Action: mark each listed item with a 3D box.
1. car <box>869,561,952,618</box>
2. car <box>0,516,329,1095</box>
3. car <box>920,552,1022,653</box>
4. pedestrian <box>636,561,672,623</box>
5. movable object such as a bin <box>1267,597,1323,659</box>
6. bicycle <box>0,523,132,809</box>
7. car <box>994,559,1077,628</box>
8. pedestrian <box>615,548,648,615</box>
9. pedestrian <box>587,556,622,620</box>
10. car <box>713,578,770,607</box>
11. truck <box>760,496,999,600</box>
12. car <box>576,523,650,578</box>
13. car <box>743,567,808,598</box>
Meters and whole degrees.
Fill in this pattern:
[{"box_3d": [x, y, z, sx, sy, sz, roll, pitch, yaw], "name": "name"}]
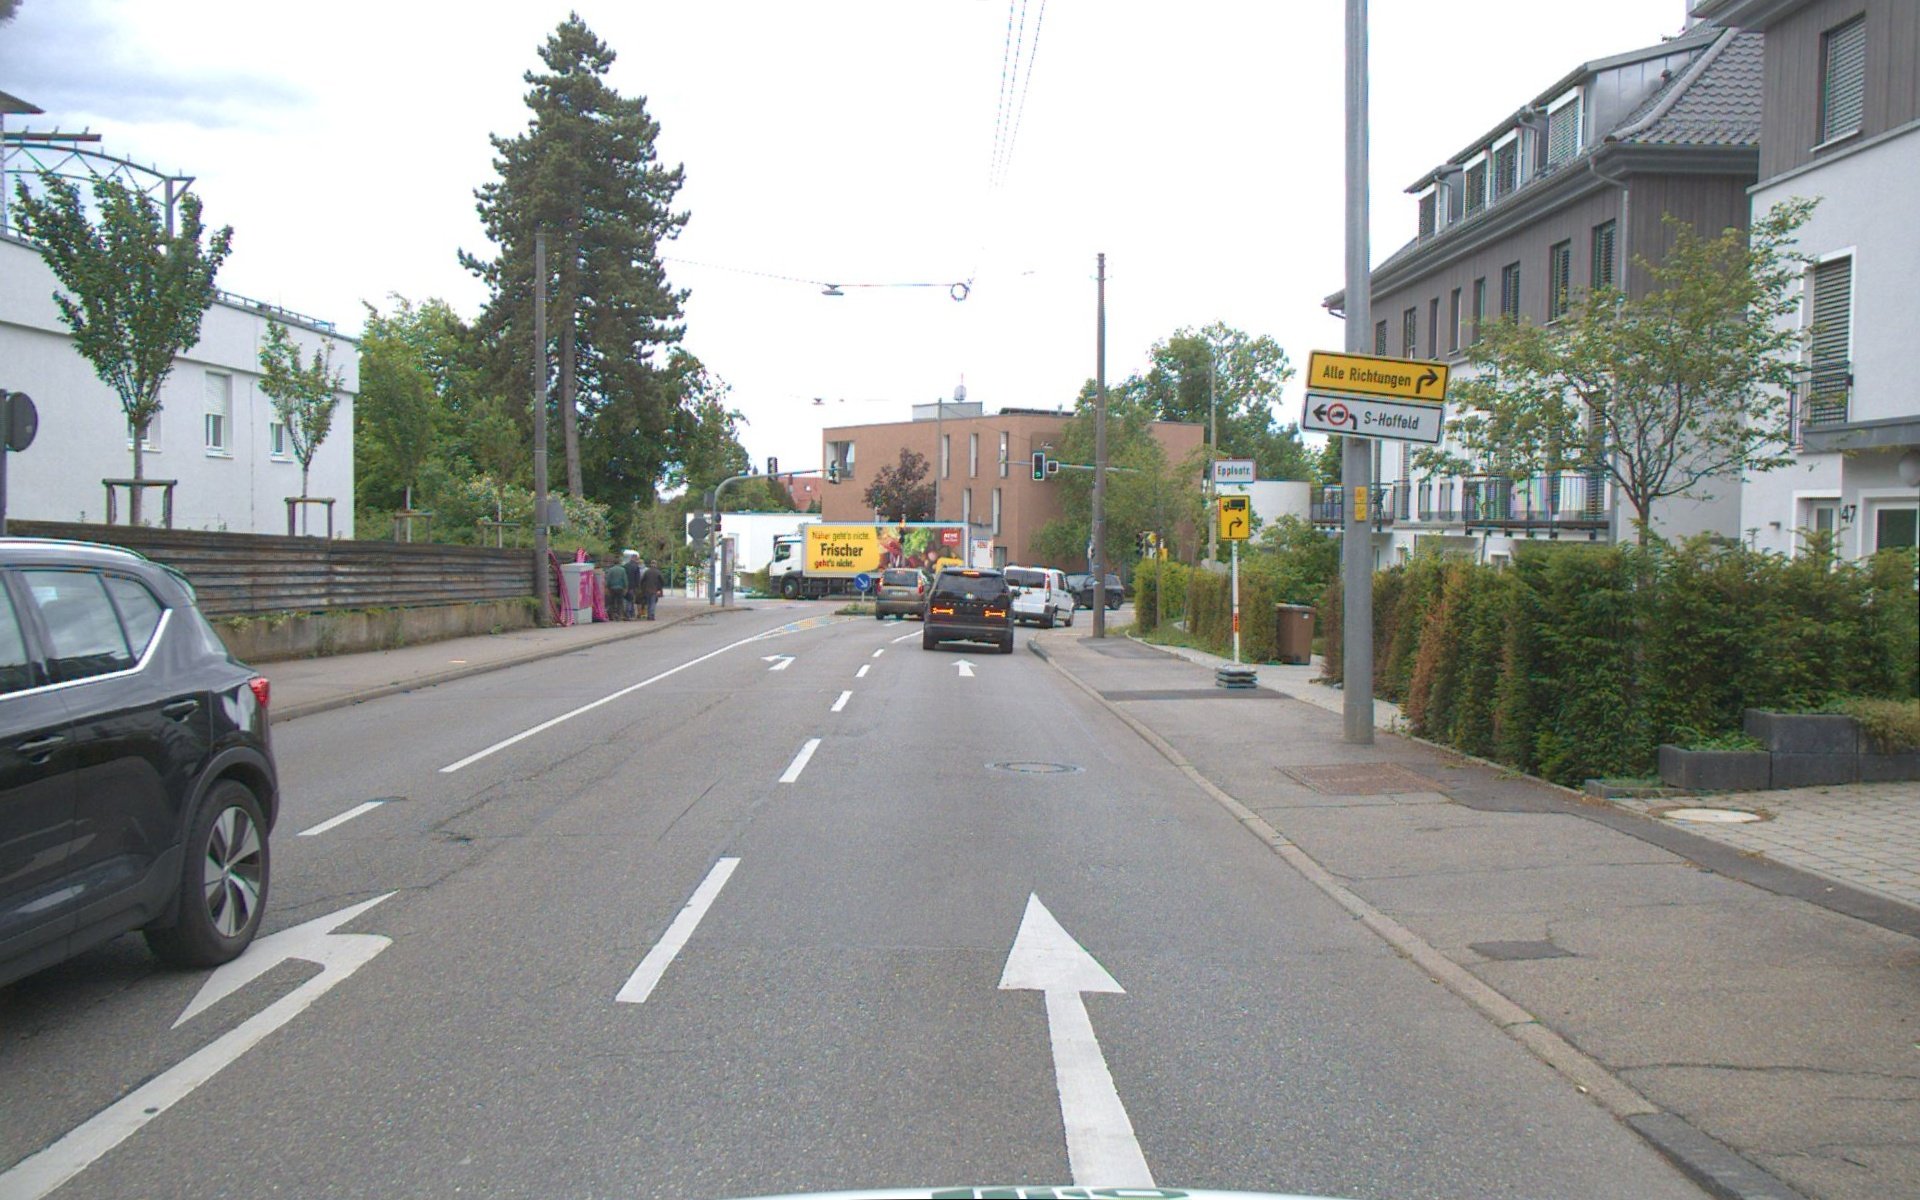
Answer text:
[{"box_3d": [-1.526, -0.359, 52.955, 1.853, 1.735, 4.004, 1, 1, 10], "name": "car"}, {"box_3d": [-3.654, 0.598, 5.031, 1.794, 1.659, 4.283, -1, 1, 0], "name": "car"}, {"box_3d": [0.193, 0.024, 34.993, 1.953, 1.914, 4.000, 3, 1, -1], "name": "car"}, {"box_3d": [-8.894, -0.238, 48.095, 0.683, 1.764, 0.747, 2, 1, 43], "name": "pedestrian"}, {"box_3d": [6.116, 0.519, 30.216, 0.709, 1.092, 0.673, 2, 0, -38], "name": "movable object such as a bin"}, {"box_3d": [-6.354, 0.403, 11.018, 0.743, 1.775, 1.871, -1, 1, -2], "name": "bicycle"}, {"box_3d": [2.552, -0.260, 54.812, 1.920, 2.048, 4.433, 4, 3, 12], "name": "car"}, {"box_3d": [-9.323, -0.524, 46.967, 0.742, 1.869, 0.608, 0, 1, -30], "name": "pedestrian"}, {"box_3d": [-10.077, -0.337, 46.836, 0.804, 1.794, 0.861, 0, 1, -24], "name": "pedestrian"}, {"box_3d": [-16.024, -0.582, 121.235, 3.924, 2.048, 1.991, 0, 1, -17], "name": "car"}, {"box_3d": [-4.007, -2.586, 80.702, 11.524, 4.817, 3.133, 2, 1, 25], "name": "truck"}, {"box_3d": [-15.005, -2.112, 71.329, 2.247, 2.266, 6.434, 0, 1, -20], "name": "car"}, {"box_3d": [-12.410, -1.190, 111.156, 3.943, 2.048, 1.981, -1, 1, -29], "name": "car"}]
